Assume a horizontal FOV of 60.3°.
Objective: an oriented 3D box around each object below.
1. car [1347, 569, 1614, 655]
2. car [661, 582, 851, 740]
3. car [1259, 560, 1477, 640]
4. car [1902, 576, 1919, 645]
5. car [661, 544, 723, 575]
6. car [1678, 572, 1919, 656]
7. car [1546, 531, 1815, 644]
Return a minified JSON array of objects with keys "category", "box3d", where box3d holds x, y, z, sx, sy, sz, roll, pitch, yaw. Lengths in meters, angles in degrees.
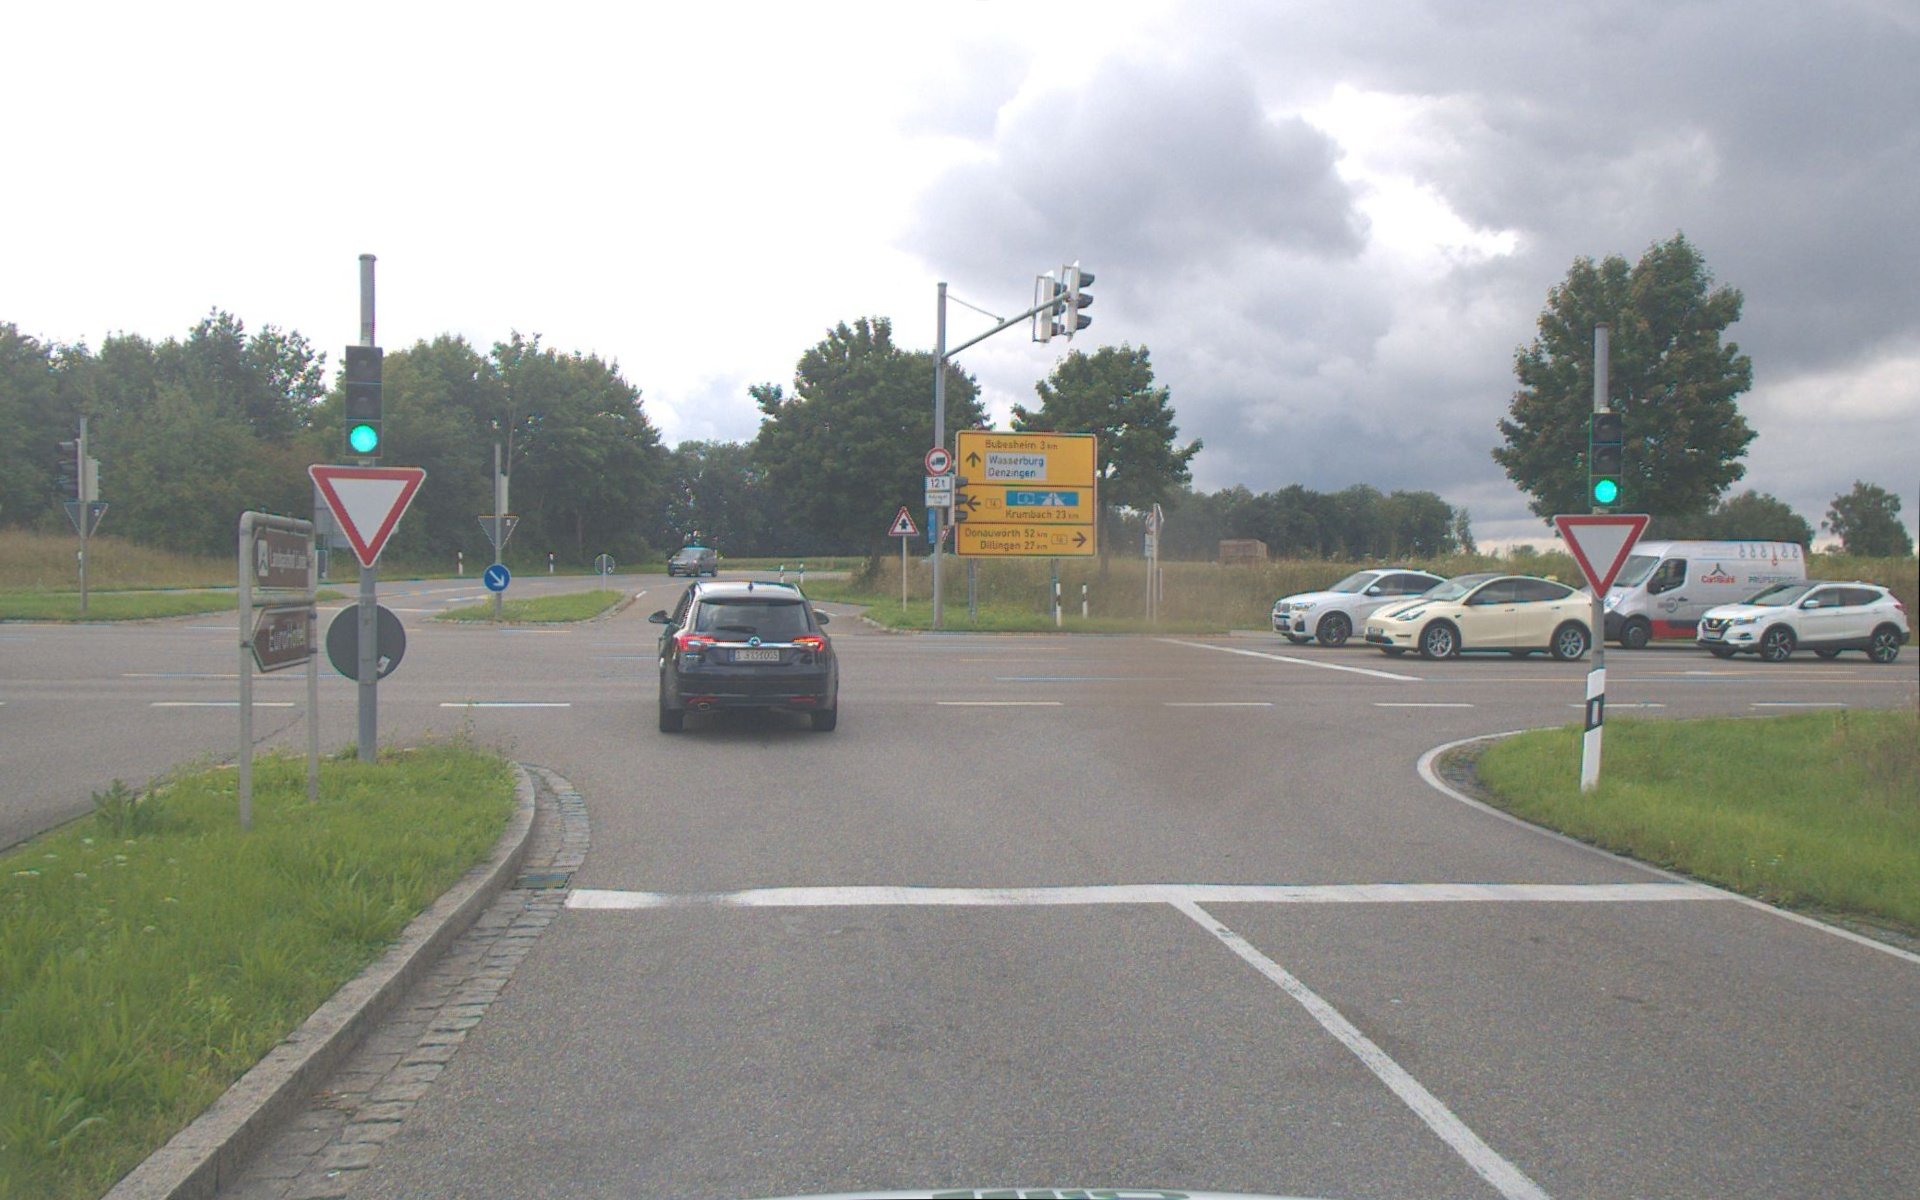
[{"category":"car","box3d":[10.134,0.242,32.311,4.653,1.592,1.993,1,0,-15]},{"category":"car","box3d":[-2.279,0.557,17.775,1.774,1.476,4.263,1,1,-10]},{"category":"car","box3d":[8.860,0.013,36.017,4.189,1.657,1.992,1,0,-15]},{"category":"car","box3d":[25.122,0.283,39.704,4.189,1.657,1.993,1,0,-14]},{"category":"car","box3d":[-14.094,-2.101,87.274,1.951,1.562,4.004,1,1,11]},{"category":"car","box3d":[17.385,0.286,34.325,4.236,1.658,1.993,1,0,-14]},{"category":"car","box3d":[16.677,-0.263,38.398,5.401,2.484,2.390,1,0,-14]}]
